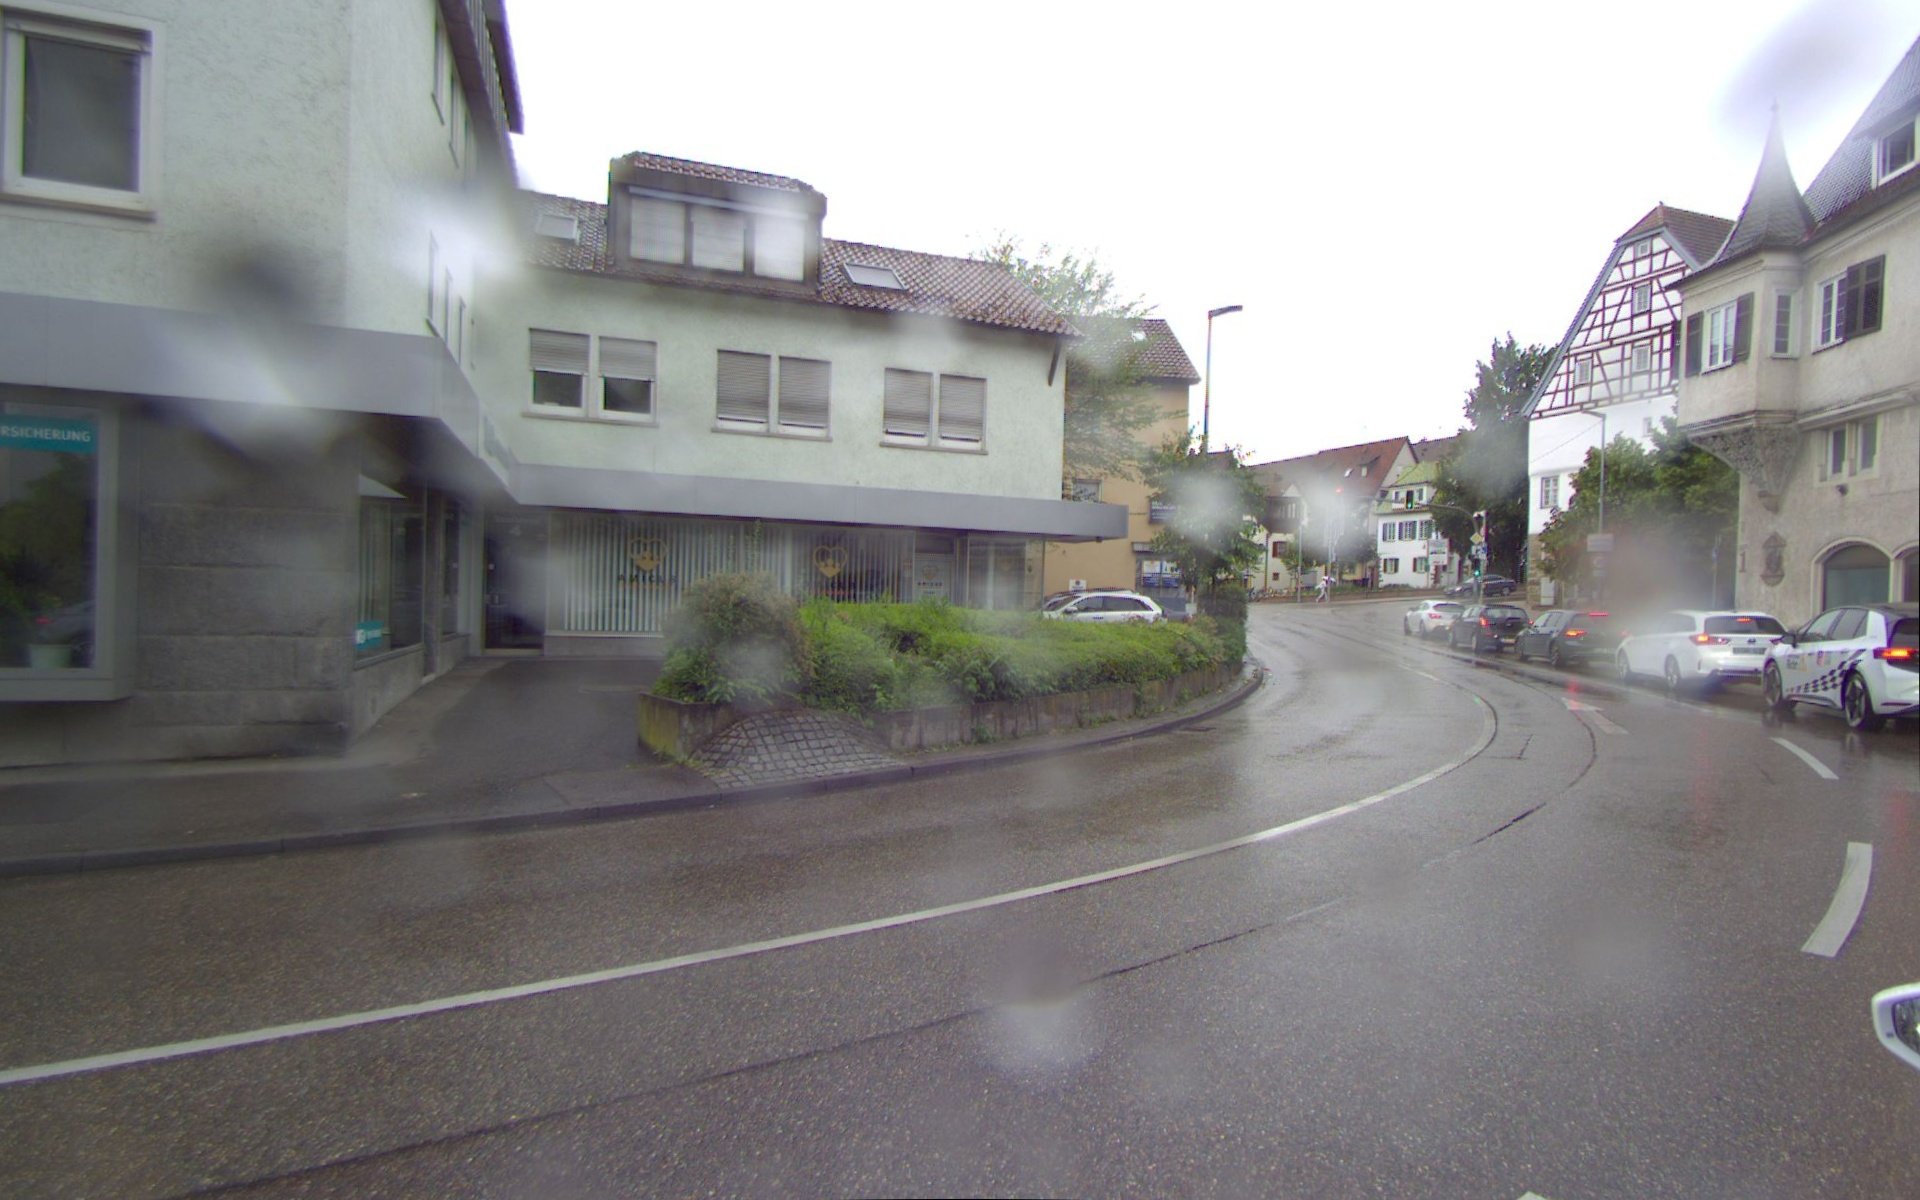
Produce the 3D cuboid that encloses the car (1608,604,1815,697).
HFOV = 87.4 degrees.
[{"bbox_3d":[13.938,0.854,18.949,1.755,1.485,4.165,0,1,16],"label":"car"}]

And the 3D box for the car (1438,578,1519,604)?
[{"bbox_3d":[33.525,-0.613,64.977,4.446,1.409,1.648,1,7,-8],"label":"car"}]

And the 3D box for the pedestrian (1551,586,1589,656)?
[{"bbox_3d":[20.912,0.709,34.456,0.851,2.357,1.231,1,0,18],"label":"pedestrian"}]

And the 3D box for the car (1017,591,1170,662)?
[{"bbox_3d":[3.294,0.632,25.195,3.472,1.708,1.710,0,1,-8],"label":"car"}]

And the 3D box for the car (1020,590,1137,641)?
[{"bbox_3d":[3.810,0.500,32.697,3.472,1.597,1.710,0,1,-8],"label":"car"}]

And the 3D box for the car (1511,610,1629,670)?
[{"bbox_3d":[15.662,0.977,25.980,1.493,1.380,3.769,0,1,13],"label":"car"}]

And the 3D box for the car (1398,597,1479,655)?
[{"bbox_3d":[18.718,0.976,39.447,1.939,2.118,3.963,0,1,11],"label":"car"}]

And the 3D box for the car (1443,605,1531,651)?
[{"bbox_3d":[16.955,0.871,32.459,1.634,1.330,3.625,0,1,13],"label":"car"}]

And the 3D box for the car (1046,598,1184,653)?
[{"bbox_3d":[4.296,0.688,28.115,3.472,1.475,1.710,0,1,-8],"label":"car"}]

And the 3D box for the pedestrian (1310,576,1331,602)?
[{"bbox_3d":[24.473,-0.756,68.181,1.126,1.765,1.006,1,0,6],"label":"pedestrian"}]

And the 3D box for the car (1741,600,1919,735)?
[{"bbox_3d":[12.124,0.786,13.271,1.760,1.537,4.239,-1,-1,22],"label":"car"}]
